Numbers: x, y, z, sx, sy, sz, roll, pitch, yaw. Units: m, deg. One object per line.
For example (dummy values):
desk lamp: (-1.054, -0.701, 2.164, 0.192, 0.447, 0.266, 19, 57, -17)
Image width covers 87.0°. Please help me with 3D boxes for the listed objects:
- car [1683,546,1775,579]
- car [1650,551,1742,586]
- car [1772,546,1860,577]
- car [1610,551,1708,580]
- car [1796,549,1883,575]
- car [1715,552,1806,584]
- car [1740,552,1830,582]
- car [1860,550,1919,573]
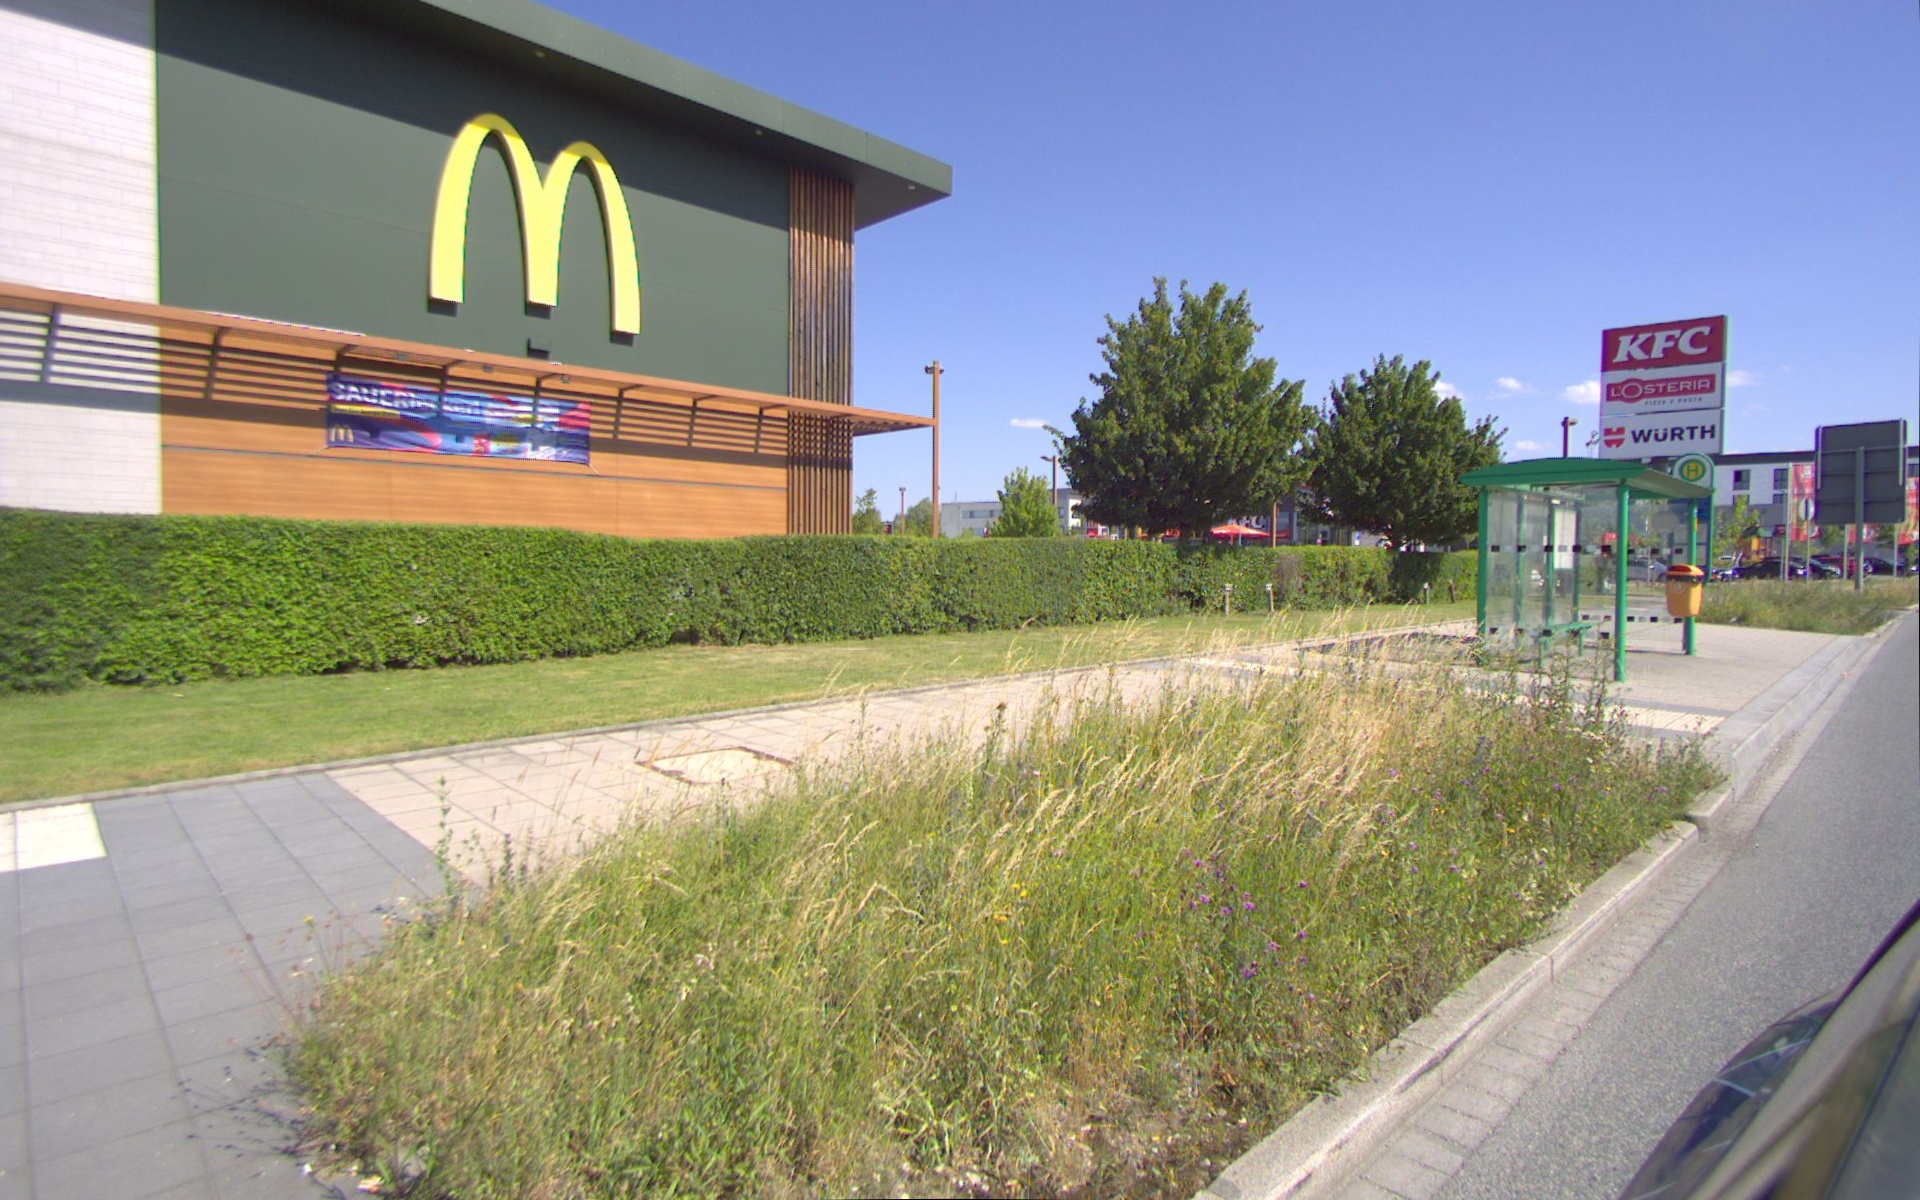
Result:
car: (48.467, -2.377, 63.850, 1.895, 2.038, 4.193, -1, 2, -30)
car: (45.532, -1.971, 62.720, 1.894, 2.038, 4.193, -1, 2, -29)
car: (58.354, -2.659, 69.032, 1.895, 2.038, 4.191, -1, 2, -31)
car: (41.580, -2.072, 60.296, 1.898, 1.673, 4.442, -1, 3, -37)
car: (61.018, -2.639, 70.303, 1.786, 1.783, 4.195, -1, 2, -26)
car: (51.679, -2.096, 65.424, 1.894, 2.038, 4.193, -1, 2, -29)
car: (54.105, -2.191, 66.482, 1.766, 1.880, 4.195, -1, 2, -26)
car: (67.375, -2.747, 72.632, 1.722, 1.639, 3.830, -1, 2, -30)
